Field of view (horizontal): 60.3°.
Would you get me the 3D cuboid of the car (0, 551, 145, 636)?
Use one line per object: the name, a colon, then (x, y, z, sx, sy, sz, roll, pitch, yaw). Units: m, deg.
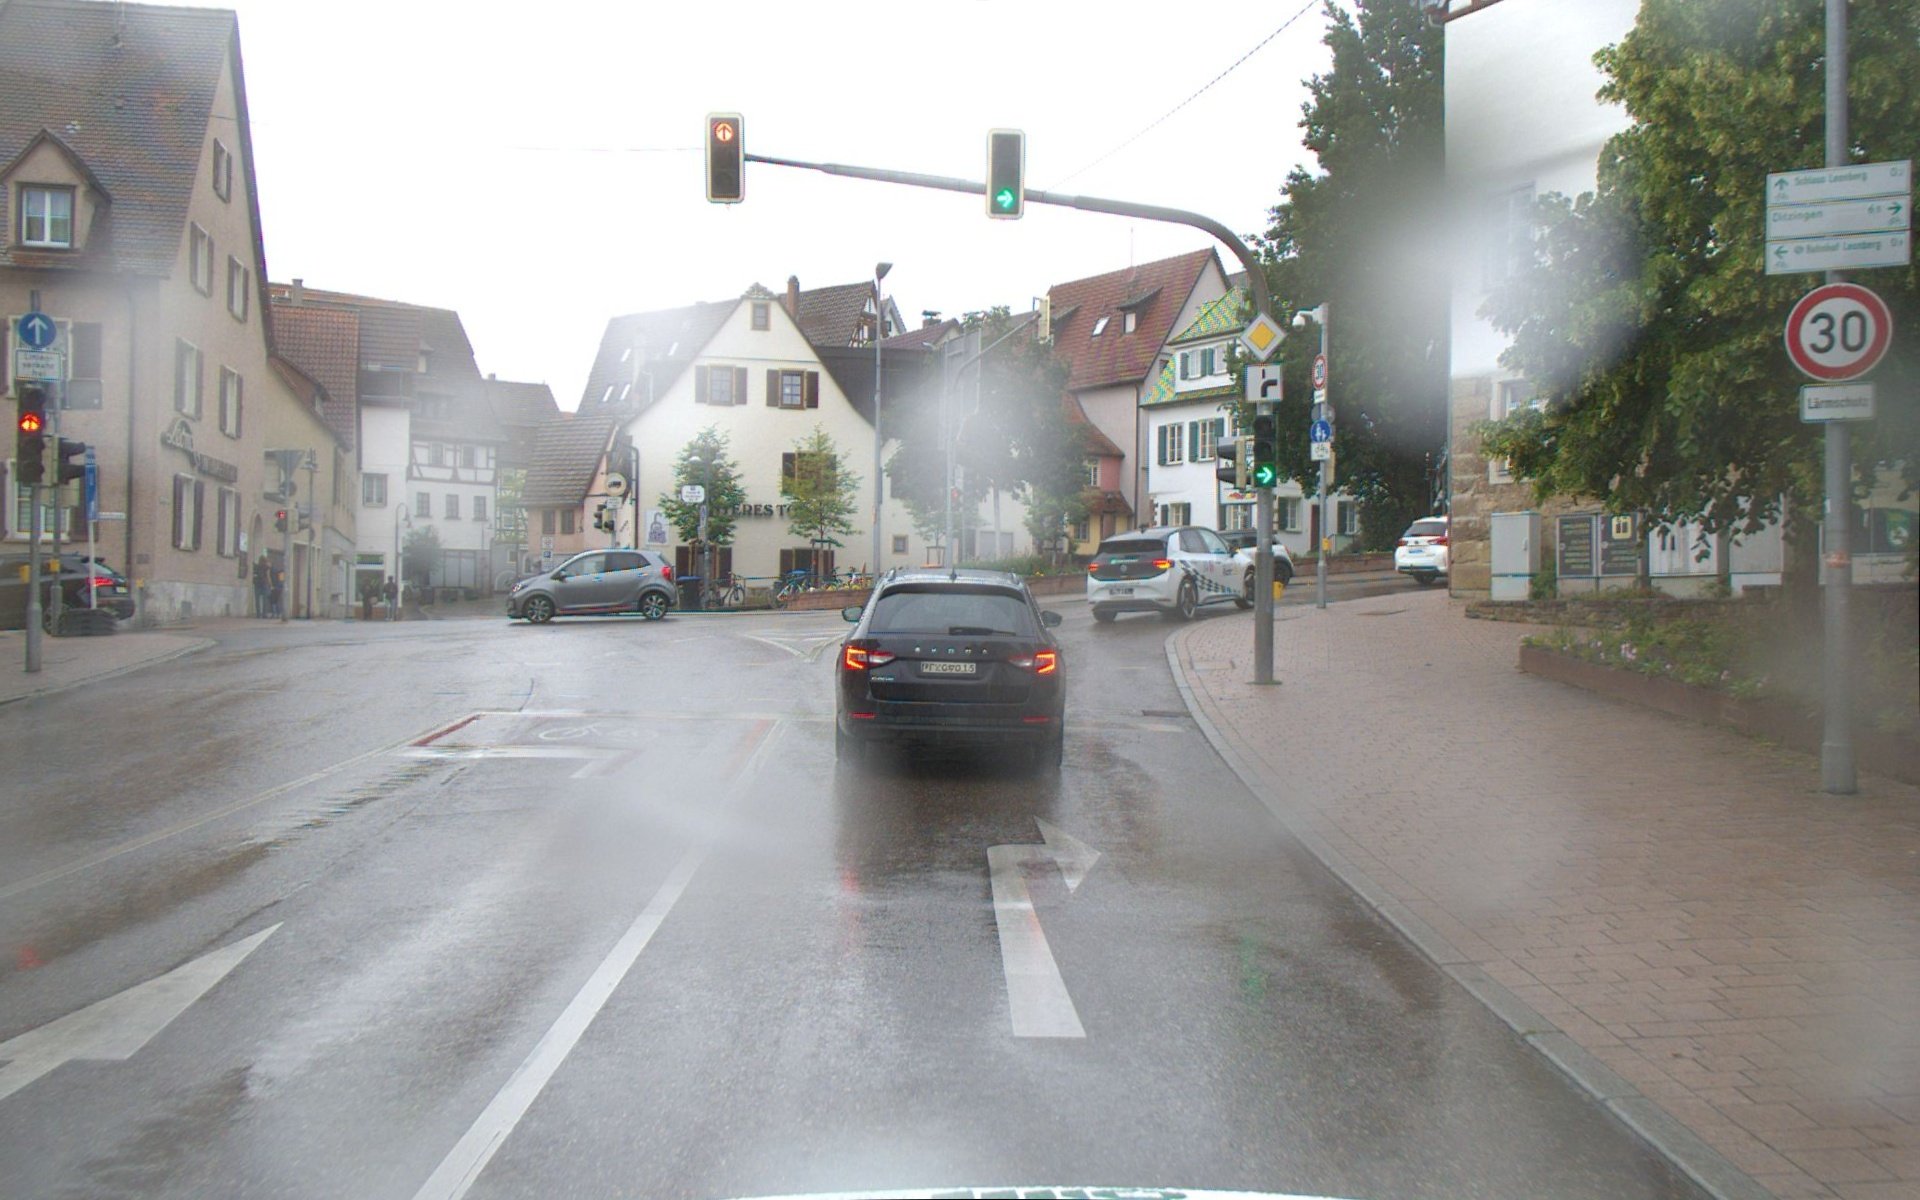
car: (-18.793, -0.119, 32.487, 4.650, 1.616, 1.824, -1, 0, -12)

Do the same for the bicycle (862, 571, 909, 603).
bicycle: (-2.264, -0.405, 50.312, 1.452, 0.927, 0.388, -1, 4, -34)

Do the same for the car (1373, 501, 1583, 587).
car: (11.311, -1.234, 36.091, 4.260, 1.623, 1.876, -4, 3, -26)

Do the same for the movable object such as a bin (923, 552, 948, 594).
movable object such as a bin: (-0.779, -0.844, 51.974, 0.670, 1.298, 0.747, 2, 1, -7)

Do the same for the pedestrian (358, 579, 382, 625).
pedestrian: (-23.011, 0.064, 64.492, 0.765, 1.762, 0.629, -2, 2, -12)

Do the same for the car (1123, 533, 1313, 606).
car: (6.037, -0.749, 38.798, 3.921, 1.455, 1.993, -3, 3, -15)

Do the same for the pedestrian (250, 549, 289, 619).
pedestrian: (-19.007, -0.451, 45.535, 0.788, 1.862, 0.707, -4, 3, -31)

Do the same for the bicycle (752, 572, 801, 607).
bicycle: (-5.347, -0.323, 48.288, 0.386, 0.927, 1.460, 0, 3, 44)

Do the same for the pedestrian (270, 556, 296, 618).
pedestrian: (-19.404, -0.354, 47.413, 0.543, 1.759, 0.537, 1, -1, -7)

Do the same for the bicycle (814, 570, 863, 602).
bicycle: (-3.659, -0.428, 49.748, 1.452, 0.927, 0.388, -1, 4, -34)

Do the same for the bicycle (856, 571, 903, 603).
bicycle: (-2.459, -0.401, 50.685, 1.452, 0.927, 0.388, -1, 4, -34)

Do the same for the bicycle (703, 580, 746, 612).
bicycle: (-6.714, -0.122, 47.207, 0.331, 0.832, 1.432, 4, 4, 35)

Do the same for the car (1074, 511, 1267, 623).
car: (3.768, -0.654, 29.045, 1.823, 1.497, 3.993, 2, 8, 32)

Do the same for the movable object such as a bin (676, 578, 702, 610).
movable object such as a bin: (-7.894, -0.168, 48.236, 0.581, 0.917, 0.578, 0, 1, -32)

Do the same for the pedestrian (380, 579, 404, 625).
pedestrian: (-22.205, 0.076, 64.674, 0.765, 1.762, 0.629, -2, 2, -12)

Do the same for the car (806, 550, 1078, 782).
car: (-0.177, 0.397, 13.797, 1.849, 1.473, 4.357, -3, 3, -1)

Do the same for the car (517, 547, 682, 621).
car: (-7.562, -0.360, 34.907, 3.318, 1.502, 1.532, 0, 2, -11)

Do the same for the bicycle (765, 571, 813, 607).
bicycle: (-4.955, -0.323, 48.018, 0.386, 0.927, 1.460, 0, 3, 44)
